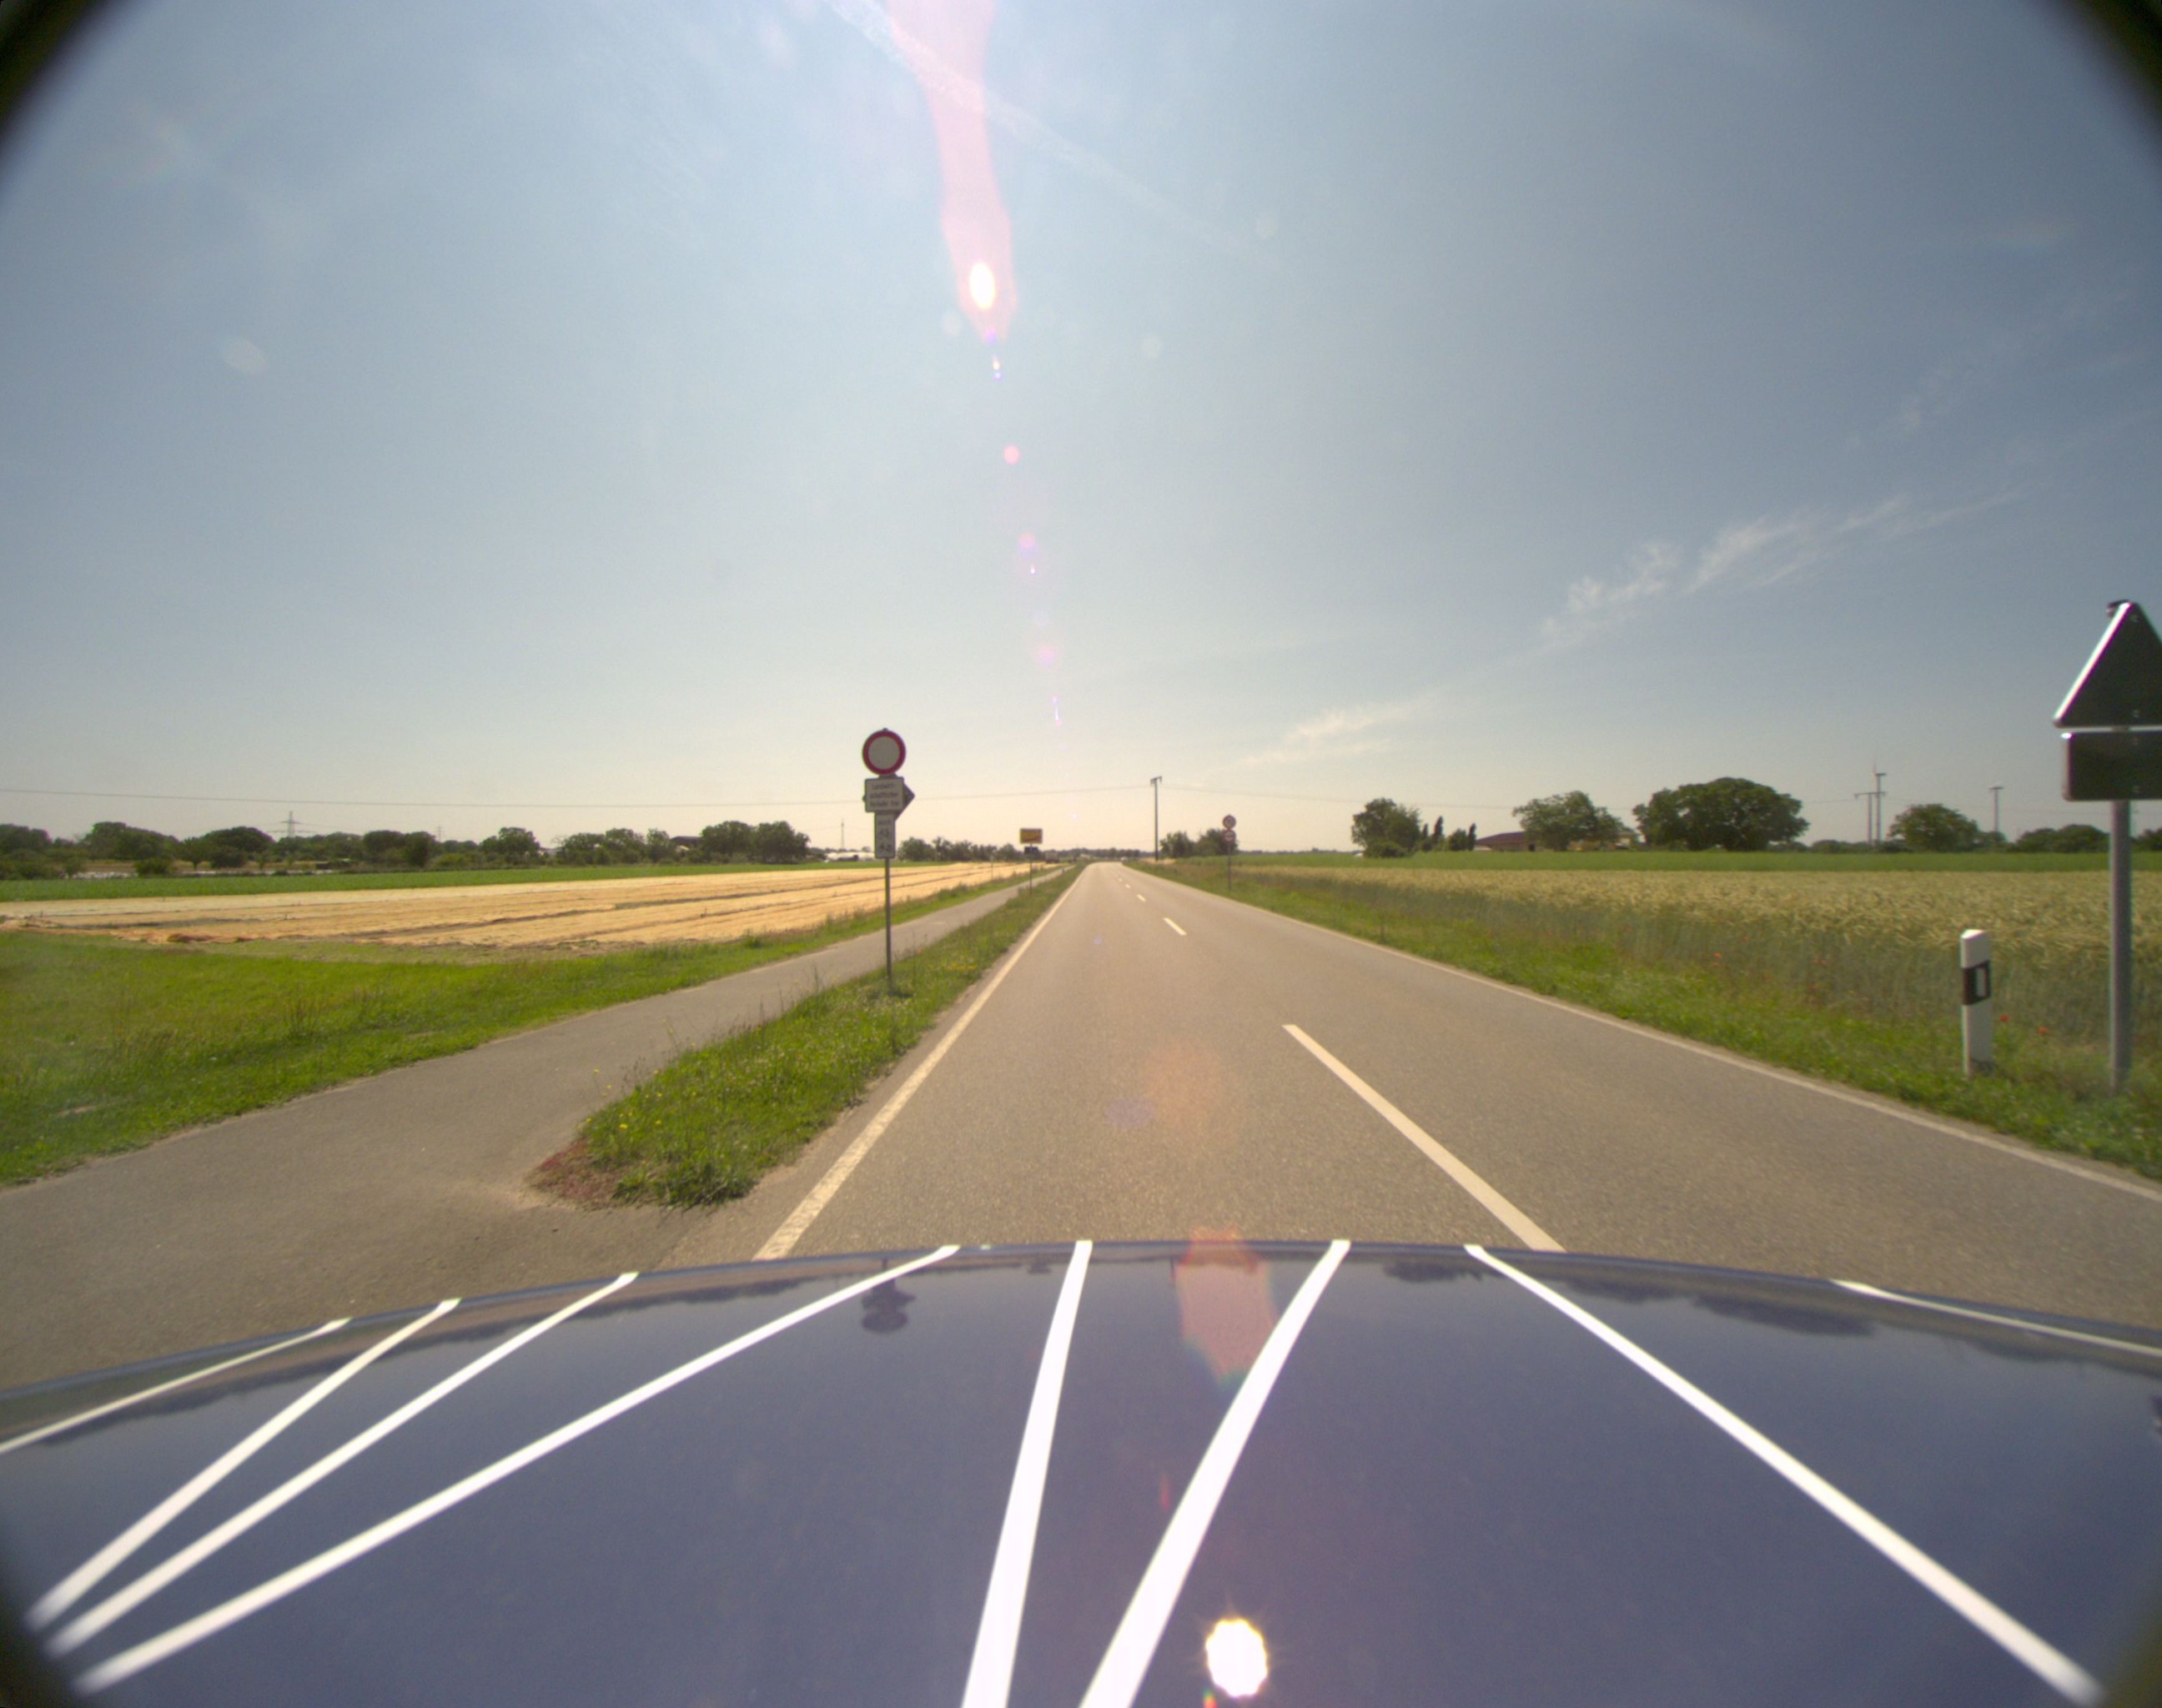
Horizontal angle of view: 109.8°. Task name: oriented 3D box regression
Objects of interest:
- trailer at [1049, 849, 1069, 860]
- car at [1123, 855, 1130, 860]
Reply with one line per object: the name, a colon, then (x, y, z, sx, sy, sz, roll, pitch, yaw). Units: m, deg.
trailer: (-6.212, 0.069, 215.381, 5.283, 2.936, 2.003, 1, 2, 21)
car: (12.923, 1.013, 214.987, 1.795, 1.401, 4.188, 1, 0, 8)
